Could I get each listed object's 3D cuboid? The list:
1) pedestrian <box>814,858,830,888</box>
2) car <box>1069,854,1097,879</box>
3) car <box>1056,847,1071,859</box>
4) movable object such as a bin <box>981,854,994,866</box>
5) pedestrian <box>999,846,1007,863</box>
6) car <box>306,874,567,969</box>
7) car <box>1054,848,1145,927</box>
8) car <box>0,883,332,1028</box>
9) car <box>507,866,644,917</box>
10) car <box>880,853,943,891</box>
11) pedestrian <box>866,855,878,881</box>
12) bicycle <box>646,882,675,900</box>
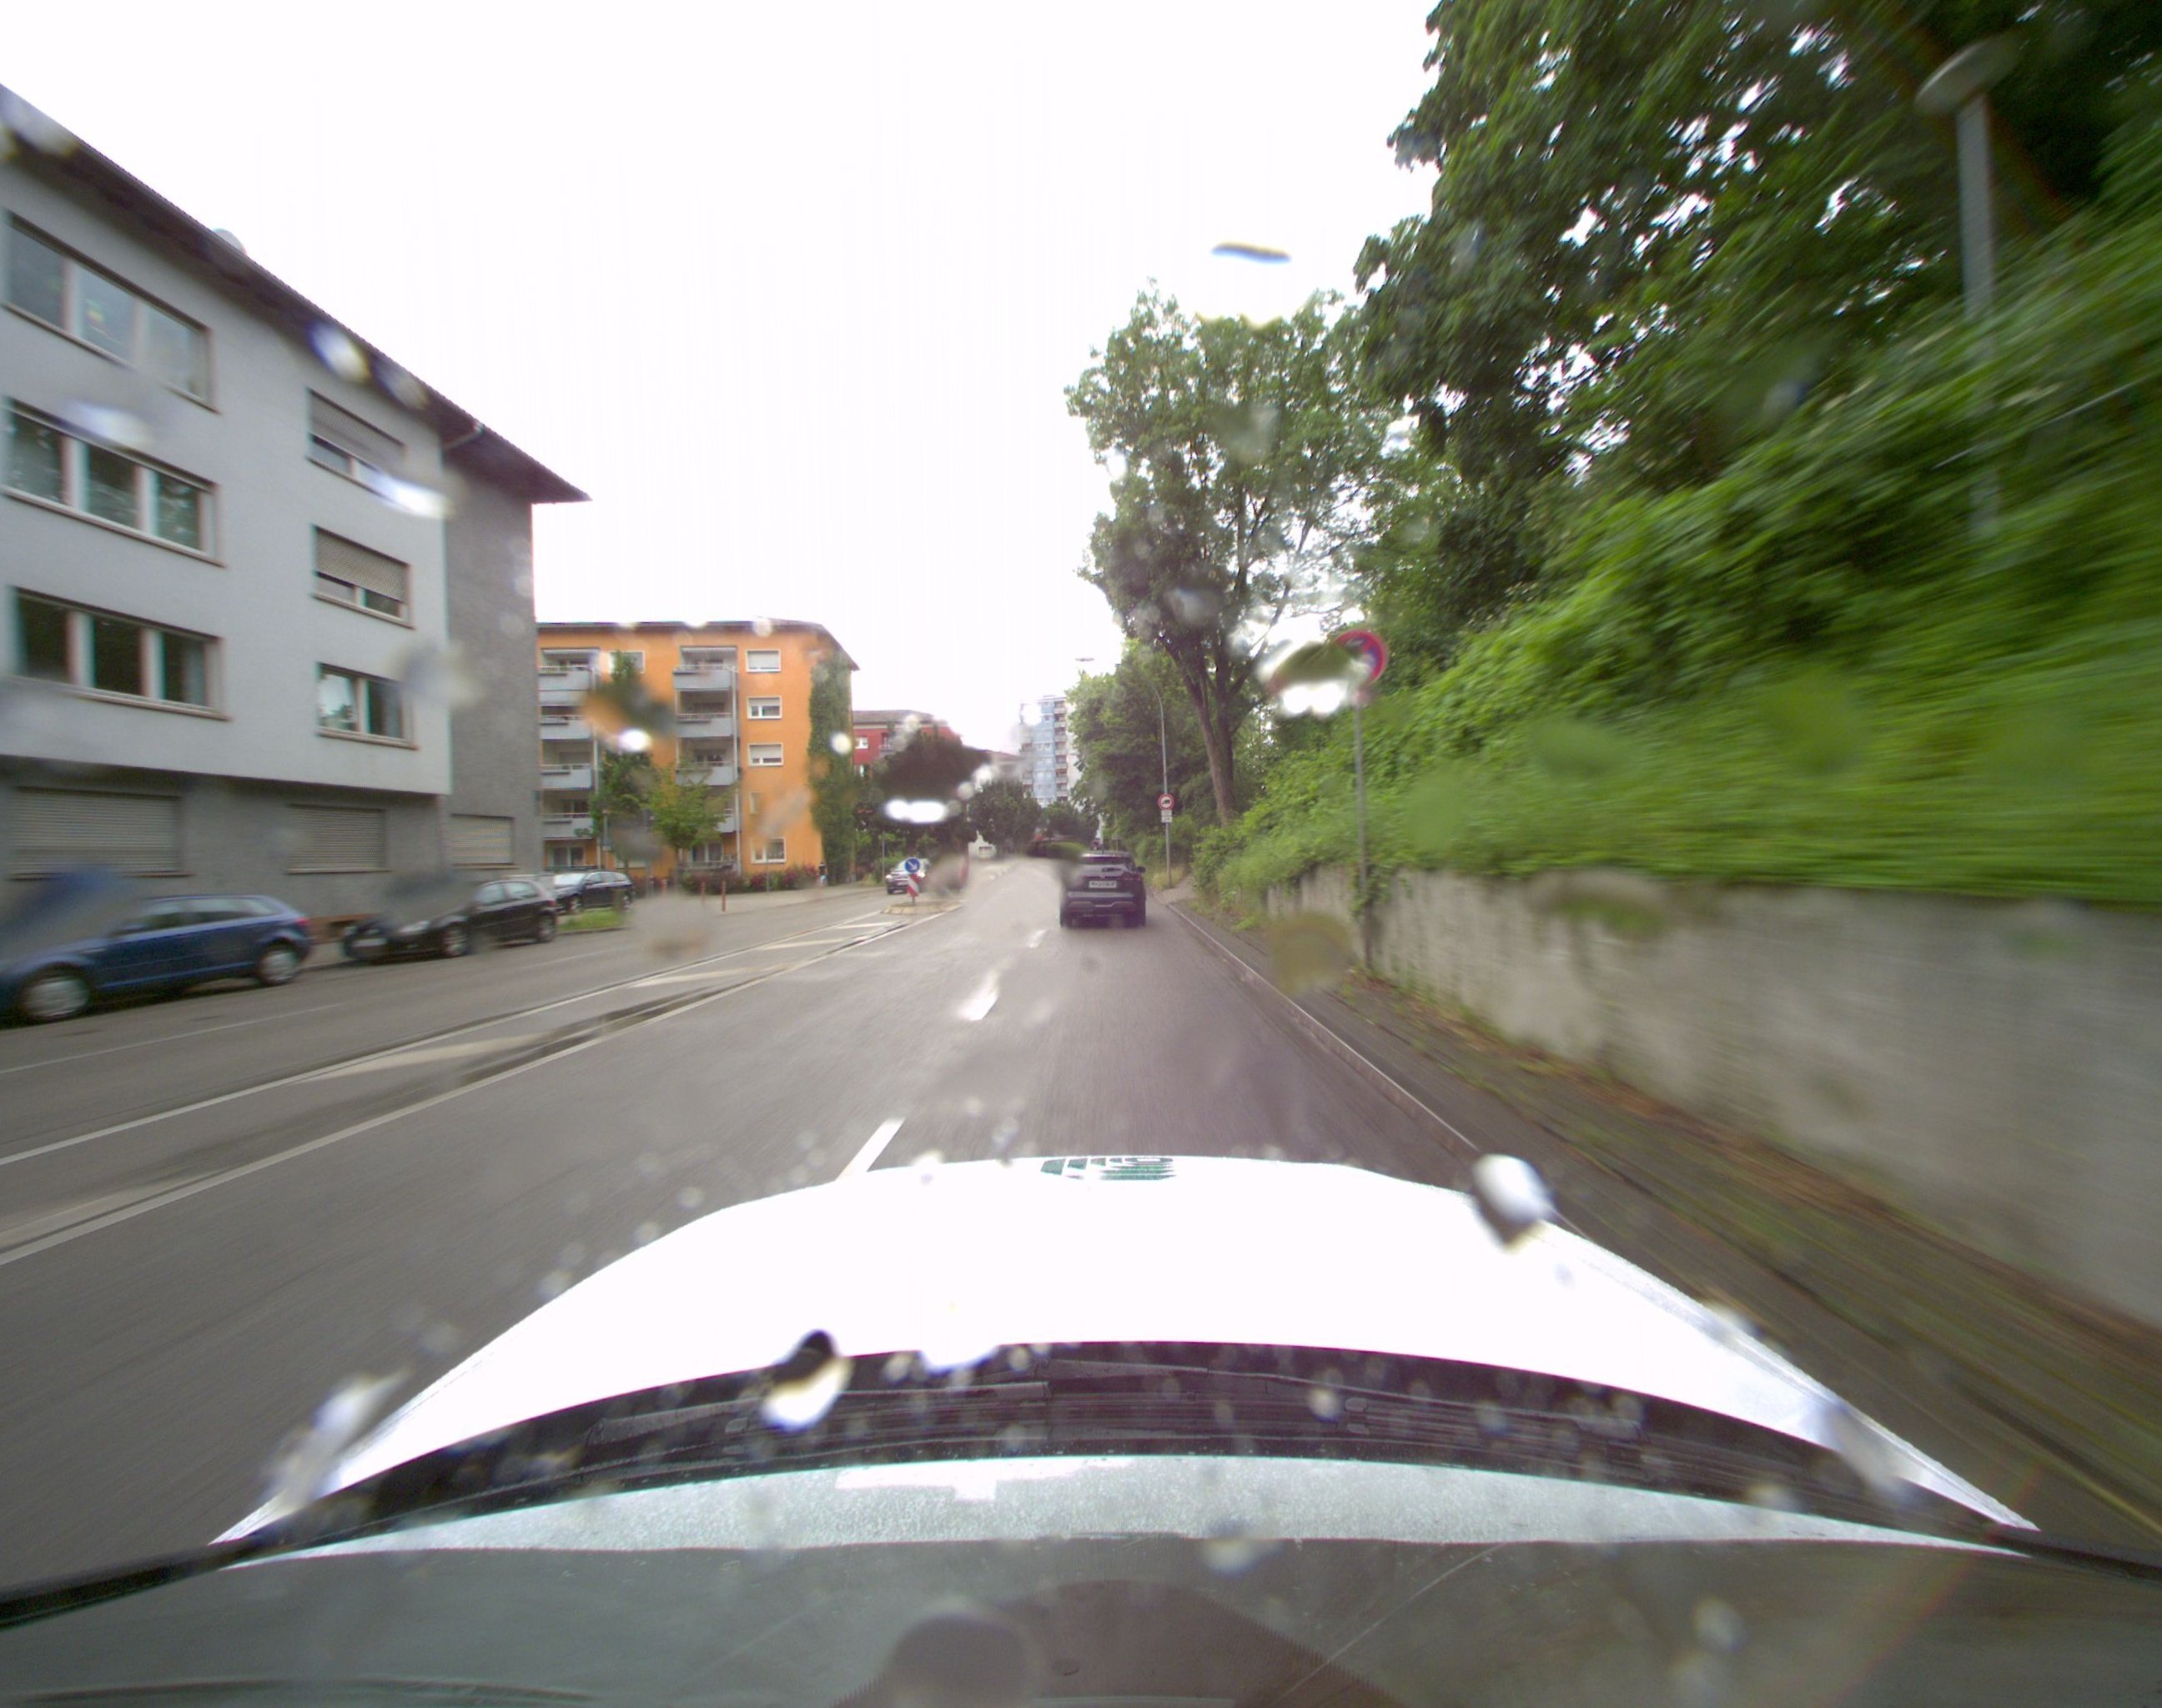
[{"bbox_3d":[-14.511,1.048,45.651,0.584,1.604,0.661,-3,0,1],"label":"pedestrian"},{"bbox_3d":[0.138,0.857,57.869,1.881,1.711,4.000,-1,0,0],"label":"car"},{"bbox_3d":[-2.919,-0.126,135.457,1.789,1.841,4.009,-2,0,8],"label":"car"},{"bbox_3d":[-11.374,0.730,98.896,1.316,1.361,1.259,-2,0,2],"label":"movable object such as a bin"},{"bbox_3d":[-9.579,0.026,100.254,0.713,2.013,0.950,-2,0,2],"label":"pedestrian"},{"bbox_3d":[-12.621,1.228,16.386,1.707,1.425,4.322,-4,0,0],"label":"car"},{"bbox_3d":[0.371,0.664,18.478,1.839,1.582,3.999,-1,0,0],"label":"car"},{"bbox_3d":[-12.753,1.258,10.746,1.675,1.449,4.275,-5,0,0],"label":"car"},{"bbox_3d":[-16.940,1.195,27.586,1.716,1.432,4.414,-3,0,1],"label":"car"},{"bbox_3d":[-7.486,0.757,36.398,1.782,1.504,4.647,-3,0,-1],"label":"car"},{"bbox_3d":[-13.740,0.915,53.465,0.607,1.674,0.594,-2,0,-2],"label":"pedestrian"},{"bbox_3d":[-19.632,1.718,38.047,0.462,0.749,1.547,-2,0,2],"label":"bicycle"}]
